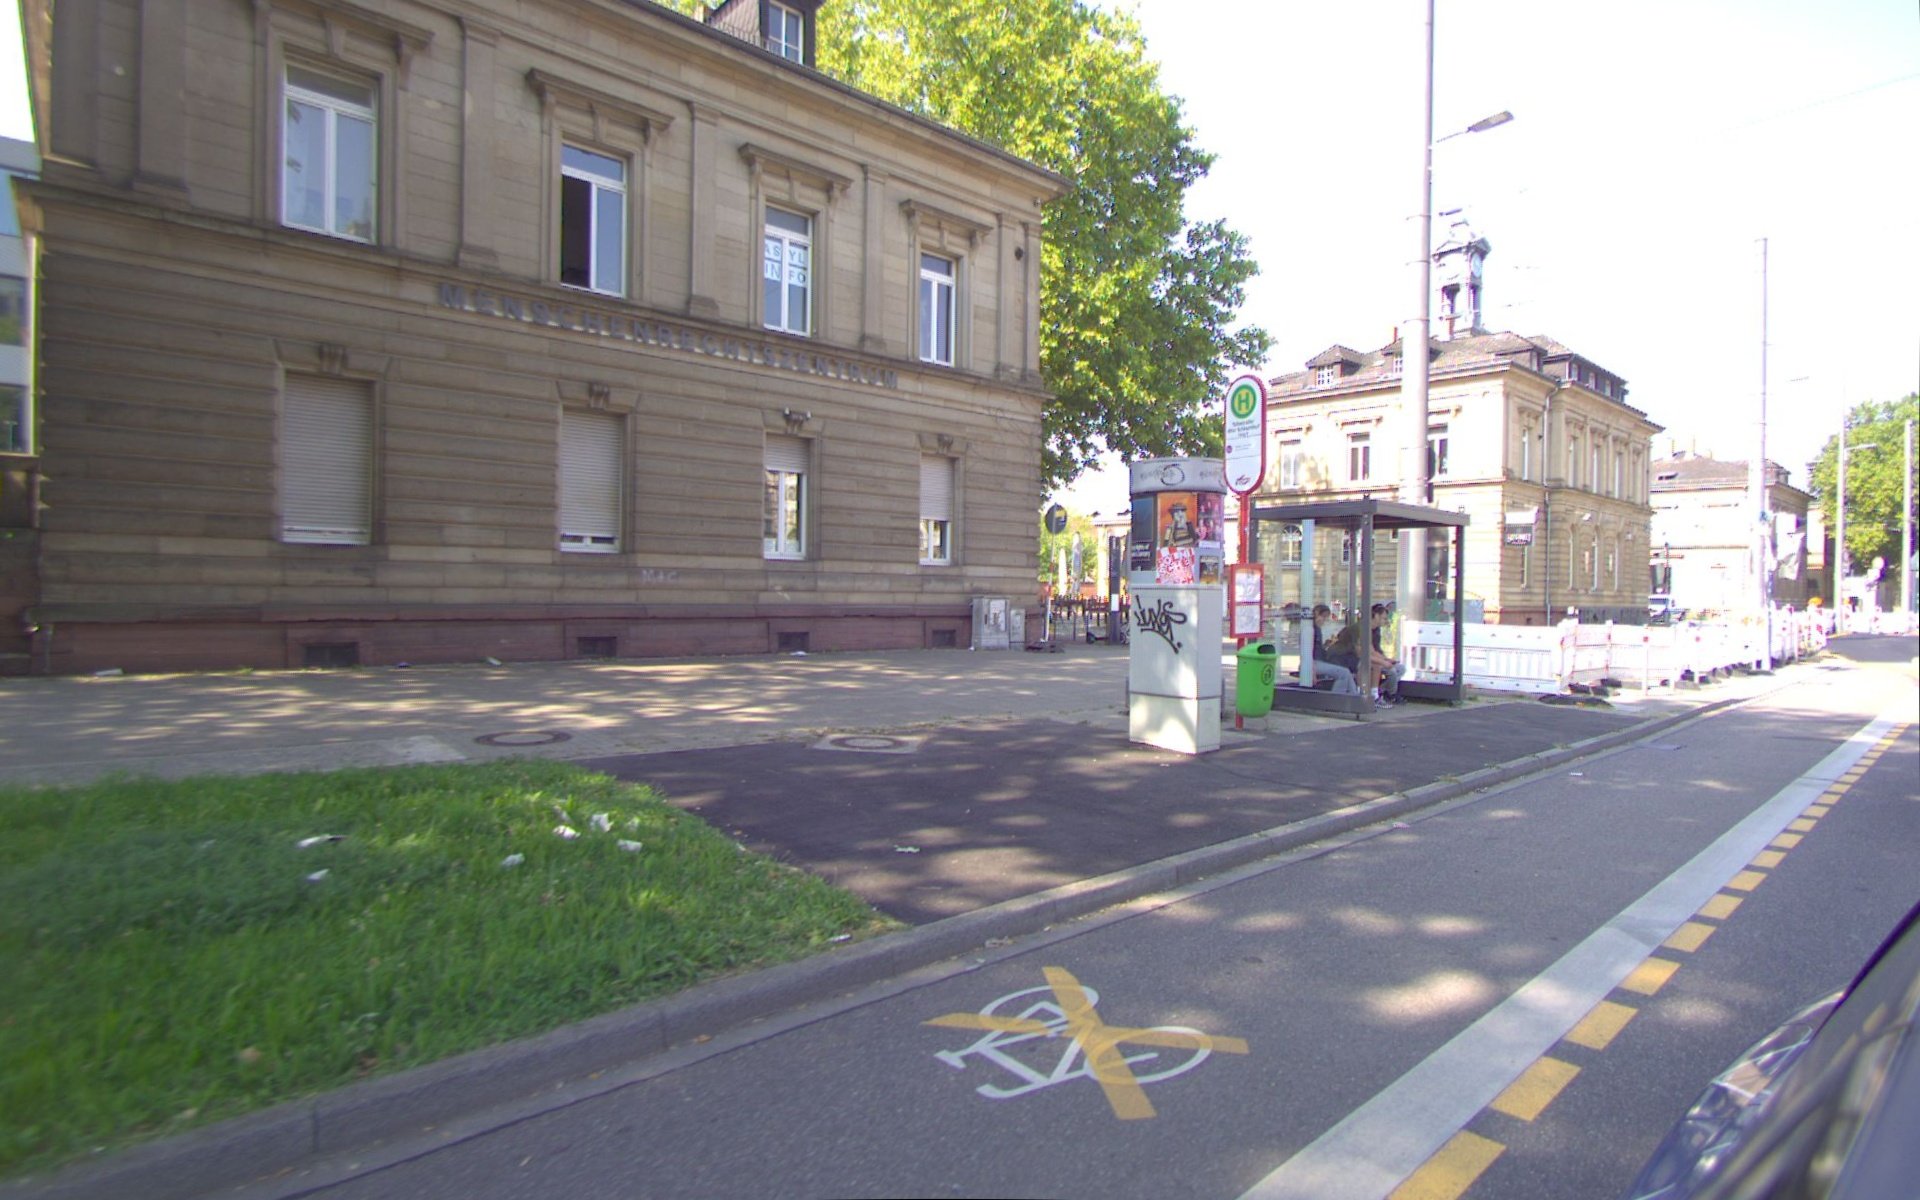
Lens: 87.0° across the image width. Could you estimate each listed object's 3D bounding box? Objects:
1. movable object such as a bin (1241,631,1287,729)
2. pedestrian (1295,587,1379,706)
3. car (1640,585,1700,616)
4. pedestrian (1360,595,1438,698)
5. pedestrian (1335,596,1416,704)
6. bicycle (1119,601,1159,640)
[{"bbox_3d":[3.018,0.786,10.050,0.379,0.927,0.271,1,0,-44],"label":"movable object such as a bin"},{"bbox_3d":[4.573,0.543,12.277,0.601,1.383,0.751,-1,0,-42],"label":"pedestrian"},{"bbox_3d":[47.652,0.059,67.939,4.143,1.805,1.911,4,0,-35],"label":"car"},{"bbox_3d":[5.708,0.585,13.172,0.601,1.277,0.742,-1,0,-42],"label":"pedestrian"},{"bbox_3d":[5.165,0.598,12.598,0.601,1.277,0.742,-1,0,-42],"label":"pedestrian"},{"bbox_3d":[4.818,0.563,27.152,0.488,1.012,1.798,1,-1,29],"label":"bicycle"}]
